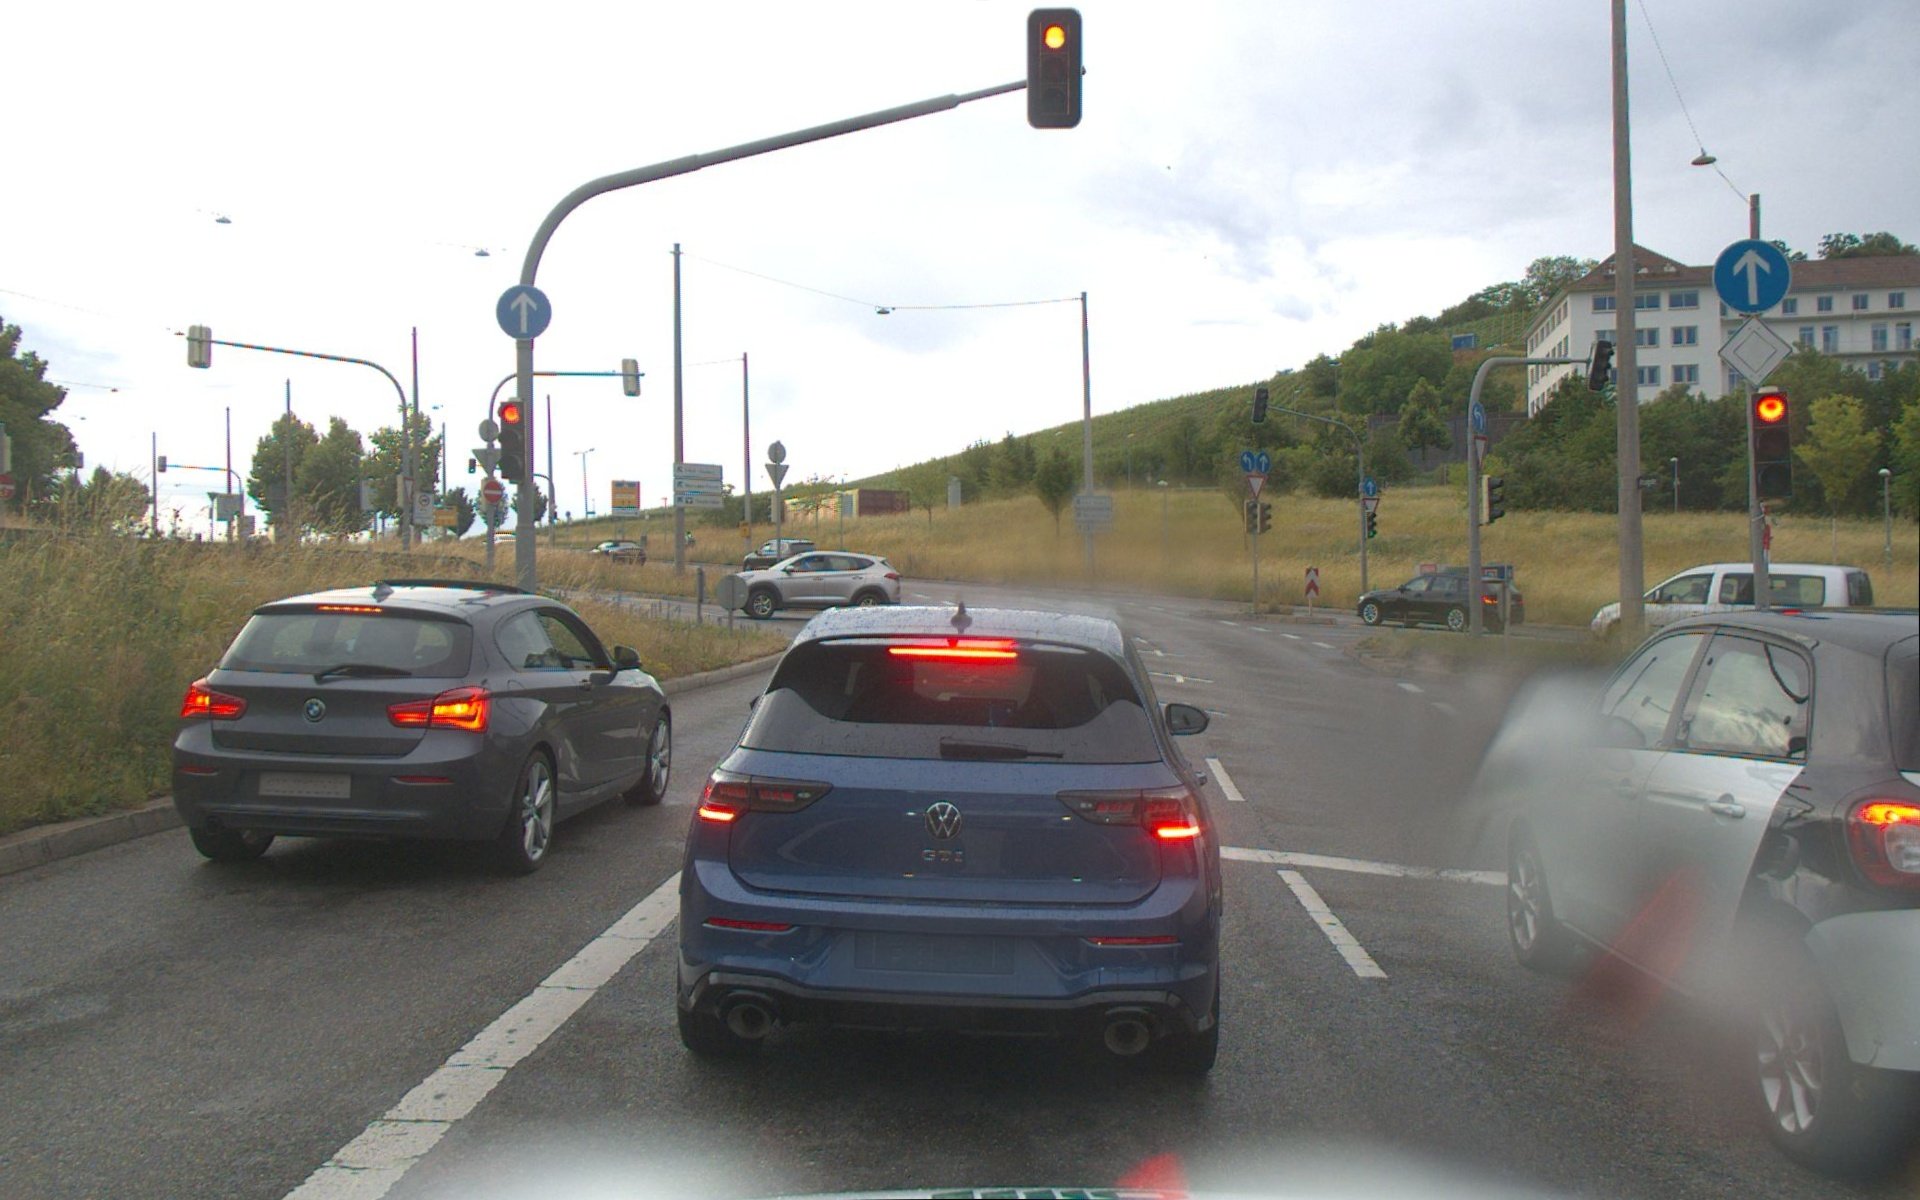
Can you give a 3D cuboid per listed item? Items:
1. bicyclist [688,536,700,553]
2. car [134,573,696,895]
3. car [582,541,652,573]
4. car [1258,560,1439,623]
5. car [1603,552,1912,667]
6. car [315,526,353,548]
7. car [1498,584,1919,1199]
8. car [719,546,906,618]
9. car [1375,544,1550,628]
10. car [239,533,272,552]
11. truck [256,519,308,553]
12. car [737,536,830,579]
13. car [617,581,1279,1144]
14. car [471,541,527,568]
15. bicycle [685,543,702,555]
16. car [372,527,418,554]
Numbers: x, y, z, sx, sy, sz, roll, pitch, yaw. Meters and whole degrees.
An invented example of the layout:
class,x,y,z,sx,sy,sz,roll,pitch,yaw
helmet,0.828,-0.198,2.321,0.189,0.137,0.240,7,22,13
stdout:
class,x,y,z,sx,sy,sz,roll,pitch,yaw
bicyclist,-17.727,-3.689,110.104,0.519,1.065,0.573,4,0,-35
car,-2.873,0.601,9.747,1.667,1.485,4.117,0,0,5
car,-17.898,-2.216,86.199,1.978,1.503,4.446,1,-1,-36
car,10.723,-0.289,45.958,1.978,1.646,4.790,-1,2,-36
car,14.047,0.166,29.313,4.618,1.882,1.809,0,-1,44
car,-55.095,-5.518,145.519,1.978,1.688,4.487,1,-1,-36
car,3.183,0.758,5.784,1.623,1.529,3.452,1,-1,3
car,-3.667,-0.420,40.774,4.428,1.649,1.995,1,-1,-11
car,12.986,-0.336,42.910,1.980,2.049,3.944,1,-1,-39
car,-67.219,-5.470,157.834,1.978,1.688,4.298,1,-1,-36
truck,-68.447,-6.472,166.943,3.234,3.128,6.096,4,0,-37
car,-7.560,-1.775,70.631,1.979,1.665,4.362,1,-1,-37
car,0.105,0.696,6.385,1.786,1.486,3.810,1,0,4
car,-28.623,-2.832,102.641,1.978,1.503,4.365,1,-1,-36
bicycle,-17.764,-3.399,110.154,0.513,0.788,1.602,3,0,-33
car,-42.953,-4.469,125.709,2.111,1.826,4.683,1,-1,-35
